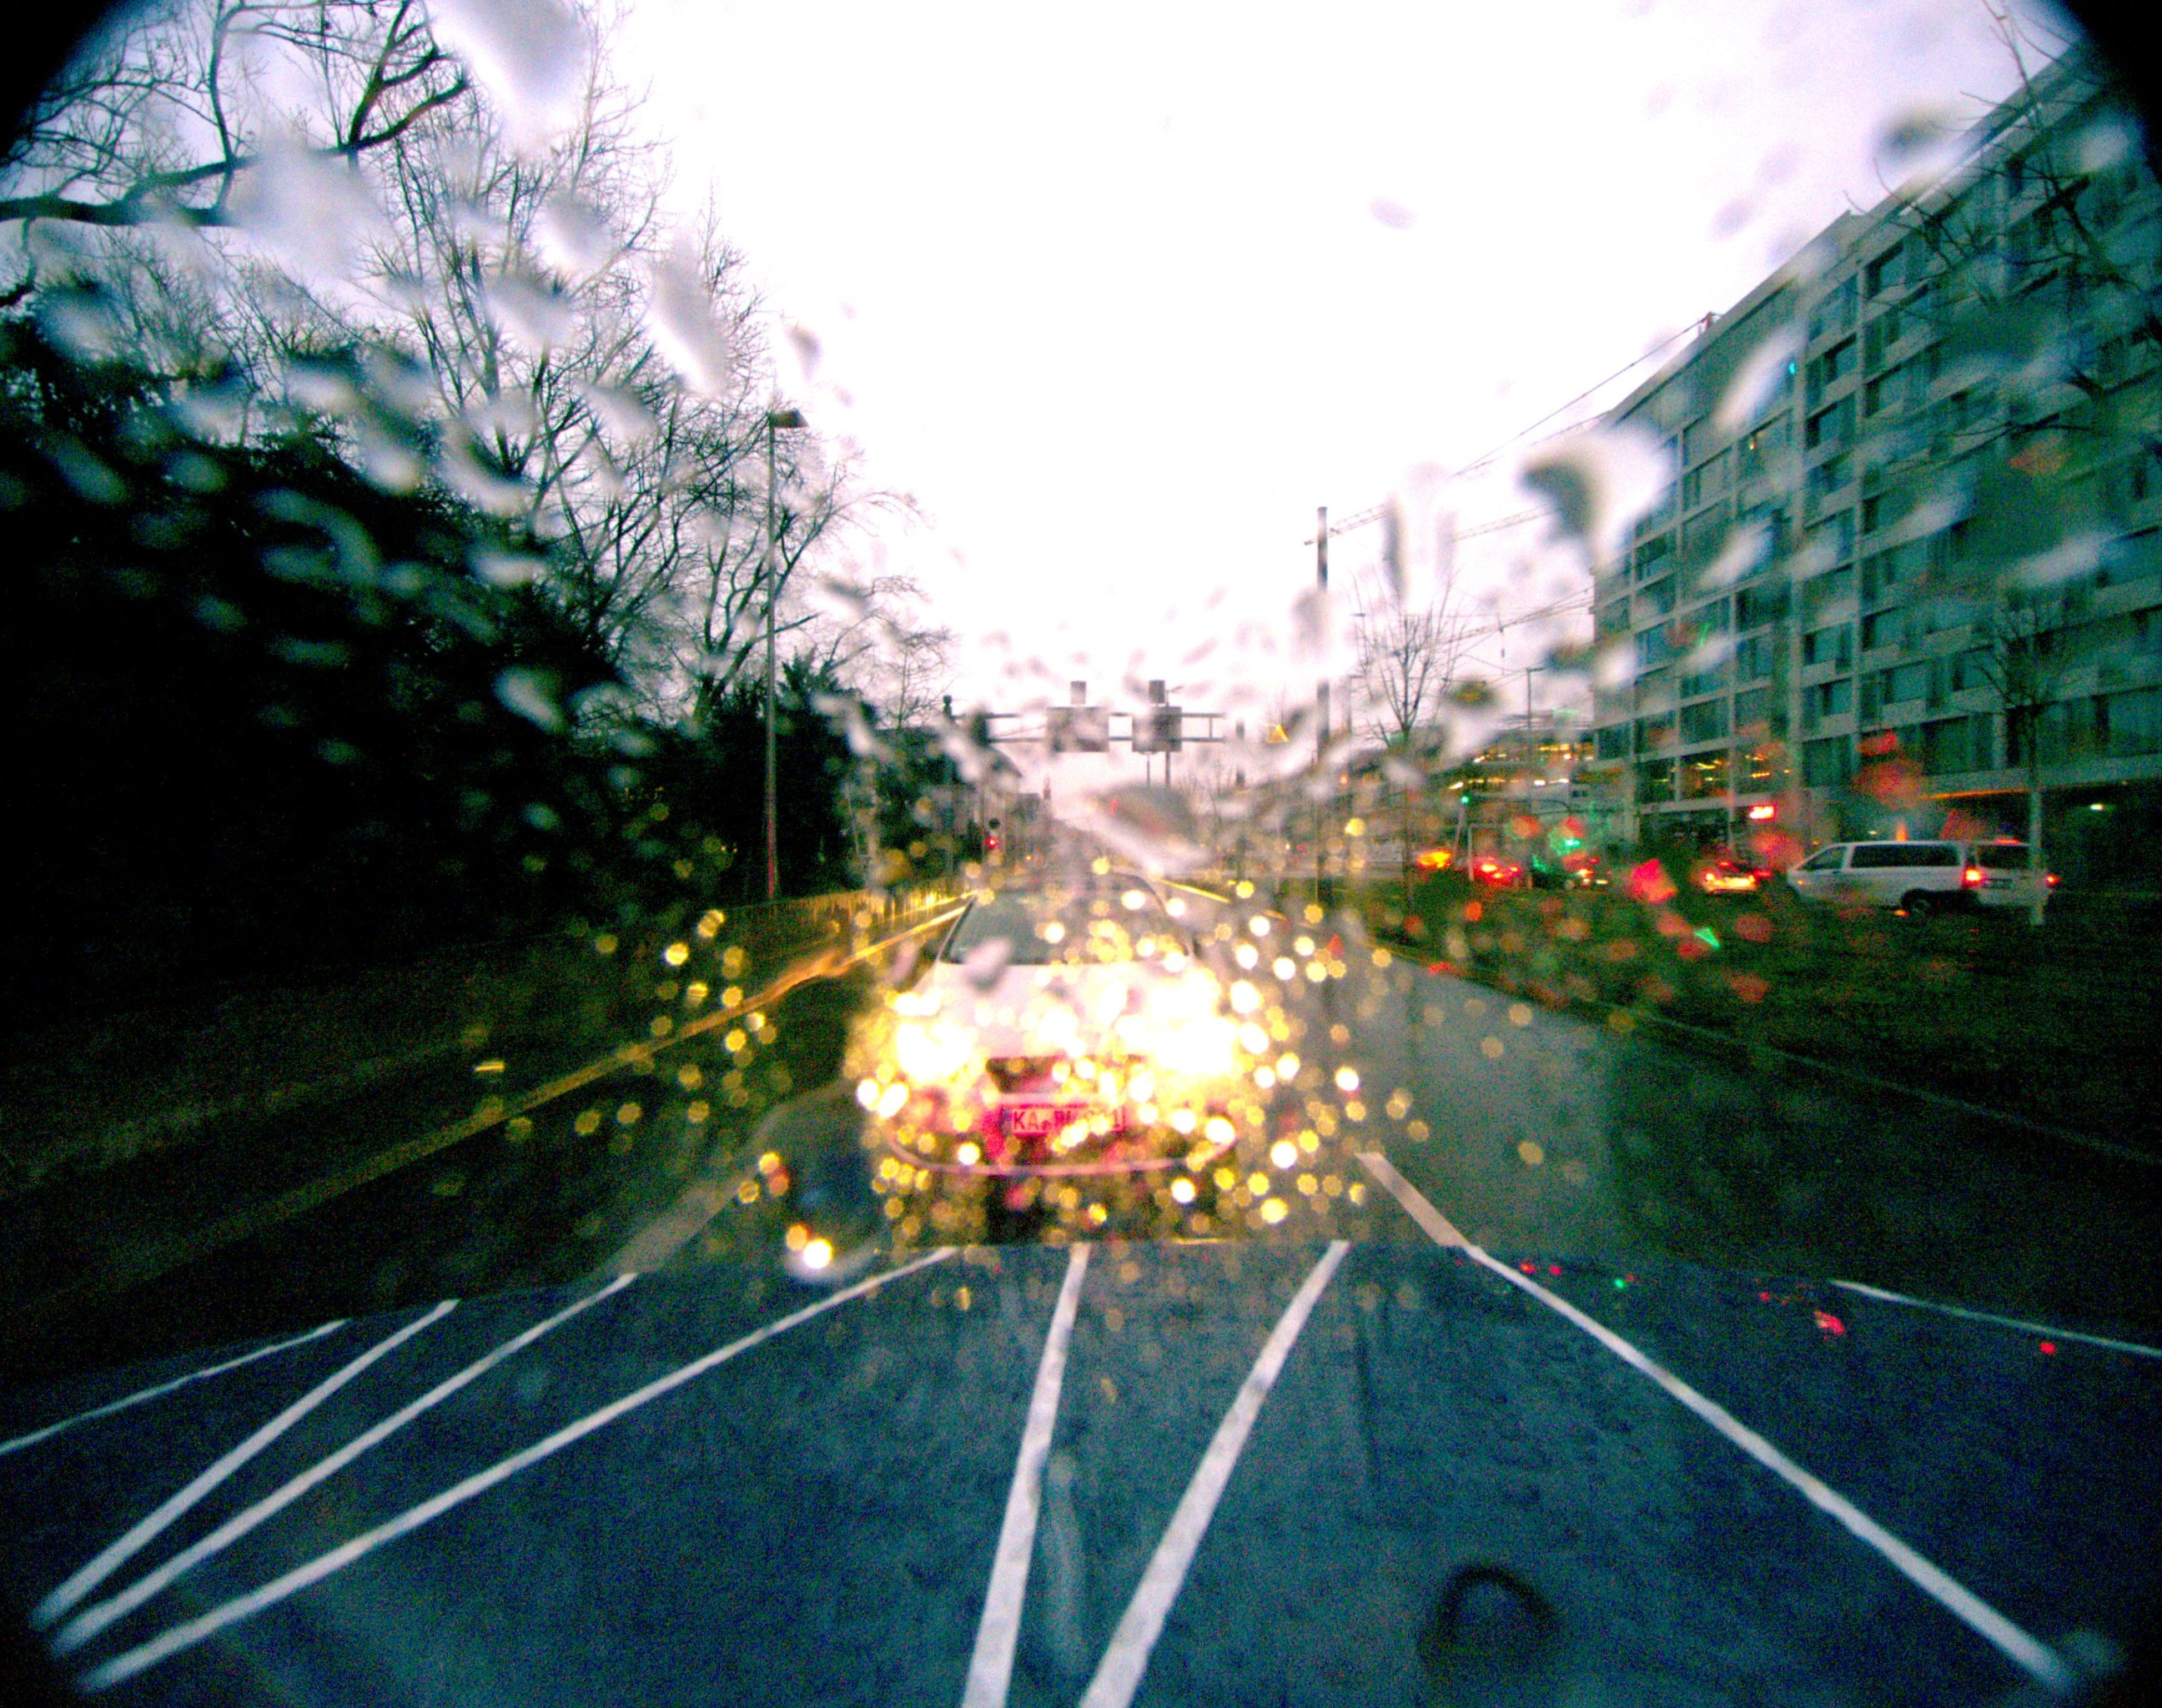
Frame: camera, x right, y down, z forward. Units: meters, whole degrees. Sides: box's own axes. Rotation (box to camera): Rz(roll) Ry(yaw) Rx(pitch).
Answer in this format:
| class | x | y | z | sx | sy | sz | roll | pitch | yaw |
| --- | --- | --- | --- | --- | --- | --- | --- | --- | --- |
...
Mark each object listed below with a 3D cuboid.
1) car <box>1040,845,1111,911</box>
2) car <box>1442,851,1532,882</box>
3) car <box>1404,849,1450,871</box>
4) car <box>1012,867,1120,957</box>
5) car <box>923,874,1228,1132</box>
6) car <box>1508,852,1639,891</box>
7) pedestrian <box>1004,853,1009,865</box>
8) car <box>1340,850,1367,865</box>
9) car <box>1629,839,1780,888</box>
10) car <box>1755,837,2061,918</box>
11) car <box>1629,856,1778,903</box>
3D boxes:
| class | x | y | z | sx | sy | sz | roll | pitch | yaw |
| --- | --- | --- | --- | --- | --- | --- | --- | --- | --- |
| car | -0.143 | 0.603 | 21.638 | 1.781 | 1.666 | 3.981 | -2 | 1 | 0 |
| car | 20.520 | 0.582 | 38.720 | 1.998 | 1.459 | 5.034 | 0 | 0 | 1 |
| car | 28.706 | 0.462 | 63.179 | 1.900 | 1.709 | 4.918 | 0 | 0 | 5 |
| car | -0.246 | 0.973 | 14.370 | 1.728 | 1.318 | 3.981 | -2 | 1 | 0 |
| car | -0.034 | 0.952 | 6.563 | 1.798 | 1.363 | 3.981 | -2 | 1 | 0 |
| car | 20.505 | 0.673 | 31.906 | 2.001 | 1.488 | 4.444 | 0 | 0 | -15 |
| pedestrian | -9.218 | 0.645 | 93.962 | 0.521 | 1.501 | 0.588 | 0 | 1 | 1 |
| car | 32.491 | 0.368 | 90.739 | 1.900 | 1.709 | 4.918 | 0 | 0 | 5 |
| car | 23.969 | 0.328 | 29.520 | 1.900 | 1.709 | 4.916 | 0 | 0 | 1 |
| car | 19.864 | 0.489 | 18.718 | 1.901 | 1.709 | 5.117 | 0 | 0 | -1 |
| car | 20.401 | 0.789 | 25.122 | 1.901 | 1.423 | 3.706 | 0 | 0 | 0 |
